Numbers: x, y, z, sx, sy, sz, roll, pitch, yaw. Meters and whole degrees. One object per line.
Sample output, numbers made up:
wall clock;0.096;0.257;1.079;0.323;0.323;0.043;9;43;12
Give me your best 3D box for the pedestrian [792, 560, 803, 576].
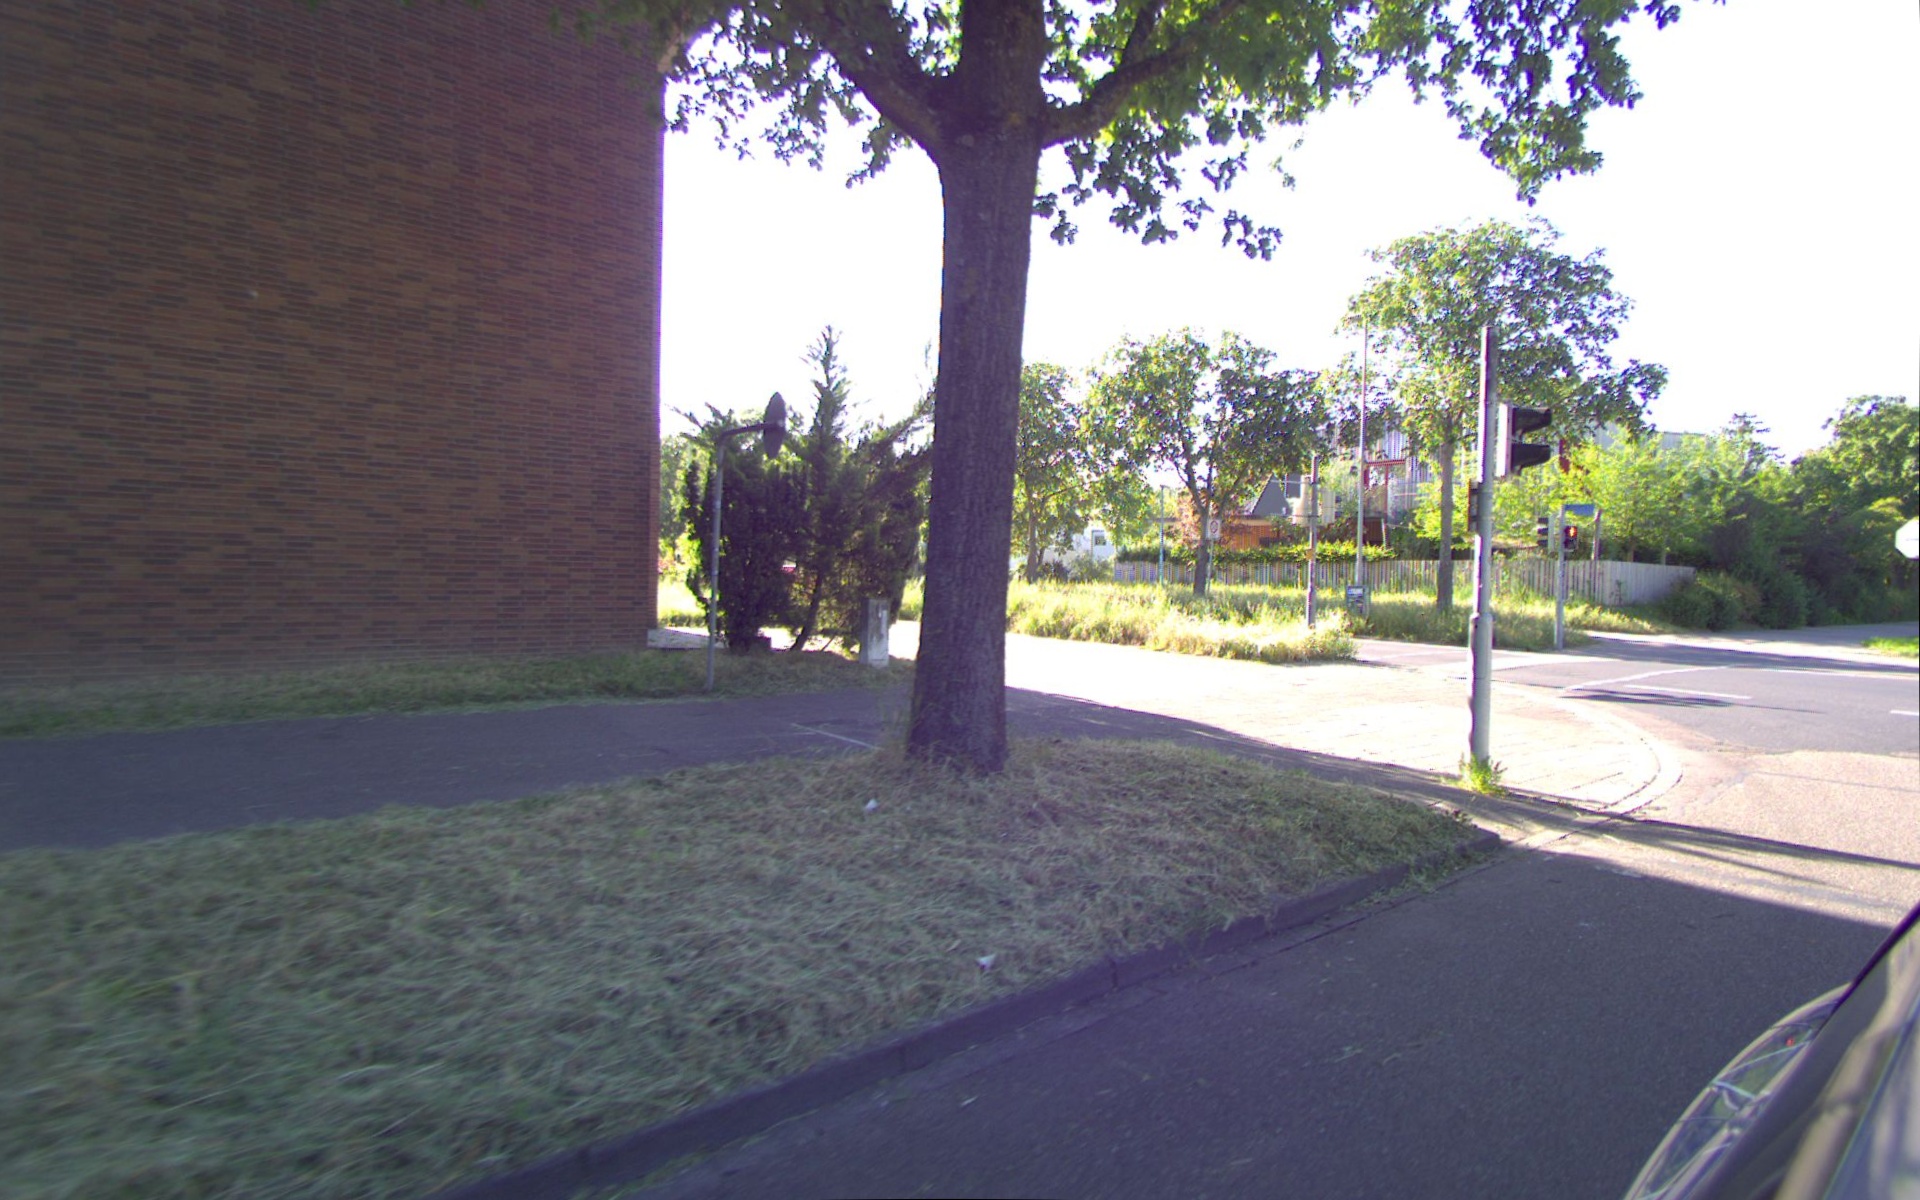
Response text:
pedestrian;-12.657;-2.491;78.928;0.628;1.171;0.522;-4;4;-36
